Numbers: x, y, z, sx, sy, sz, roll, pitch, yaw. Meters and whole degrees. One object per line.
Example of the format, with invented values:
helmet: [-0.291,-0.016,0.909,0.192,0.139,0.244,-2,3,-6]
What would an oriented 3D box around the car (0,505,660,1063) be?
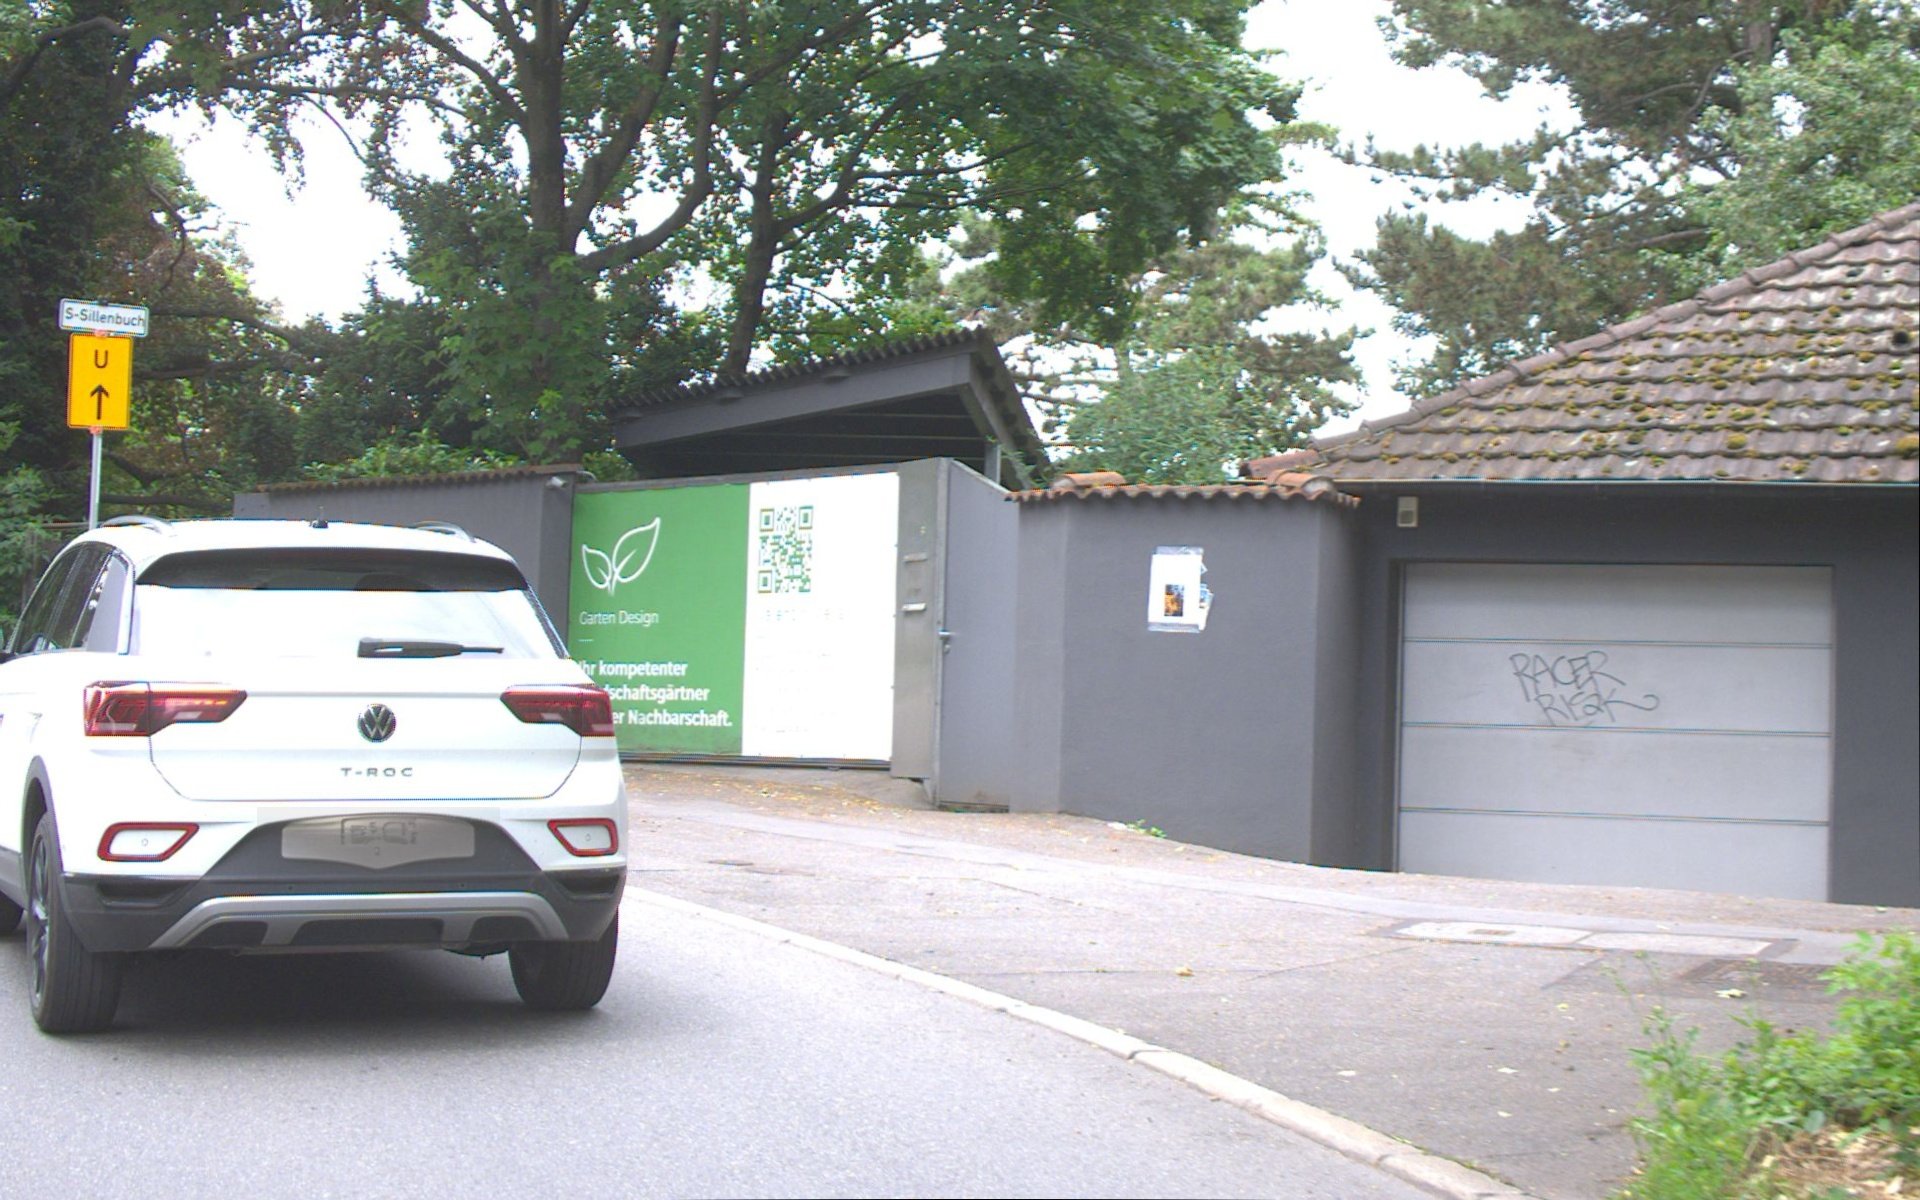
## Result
car: [-2.541,0.468,11.866,1.754,1.547,4.339,1,1,-22]
